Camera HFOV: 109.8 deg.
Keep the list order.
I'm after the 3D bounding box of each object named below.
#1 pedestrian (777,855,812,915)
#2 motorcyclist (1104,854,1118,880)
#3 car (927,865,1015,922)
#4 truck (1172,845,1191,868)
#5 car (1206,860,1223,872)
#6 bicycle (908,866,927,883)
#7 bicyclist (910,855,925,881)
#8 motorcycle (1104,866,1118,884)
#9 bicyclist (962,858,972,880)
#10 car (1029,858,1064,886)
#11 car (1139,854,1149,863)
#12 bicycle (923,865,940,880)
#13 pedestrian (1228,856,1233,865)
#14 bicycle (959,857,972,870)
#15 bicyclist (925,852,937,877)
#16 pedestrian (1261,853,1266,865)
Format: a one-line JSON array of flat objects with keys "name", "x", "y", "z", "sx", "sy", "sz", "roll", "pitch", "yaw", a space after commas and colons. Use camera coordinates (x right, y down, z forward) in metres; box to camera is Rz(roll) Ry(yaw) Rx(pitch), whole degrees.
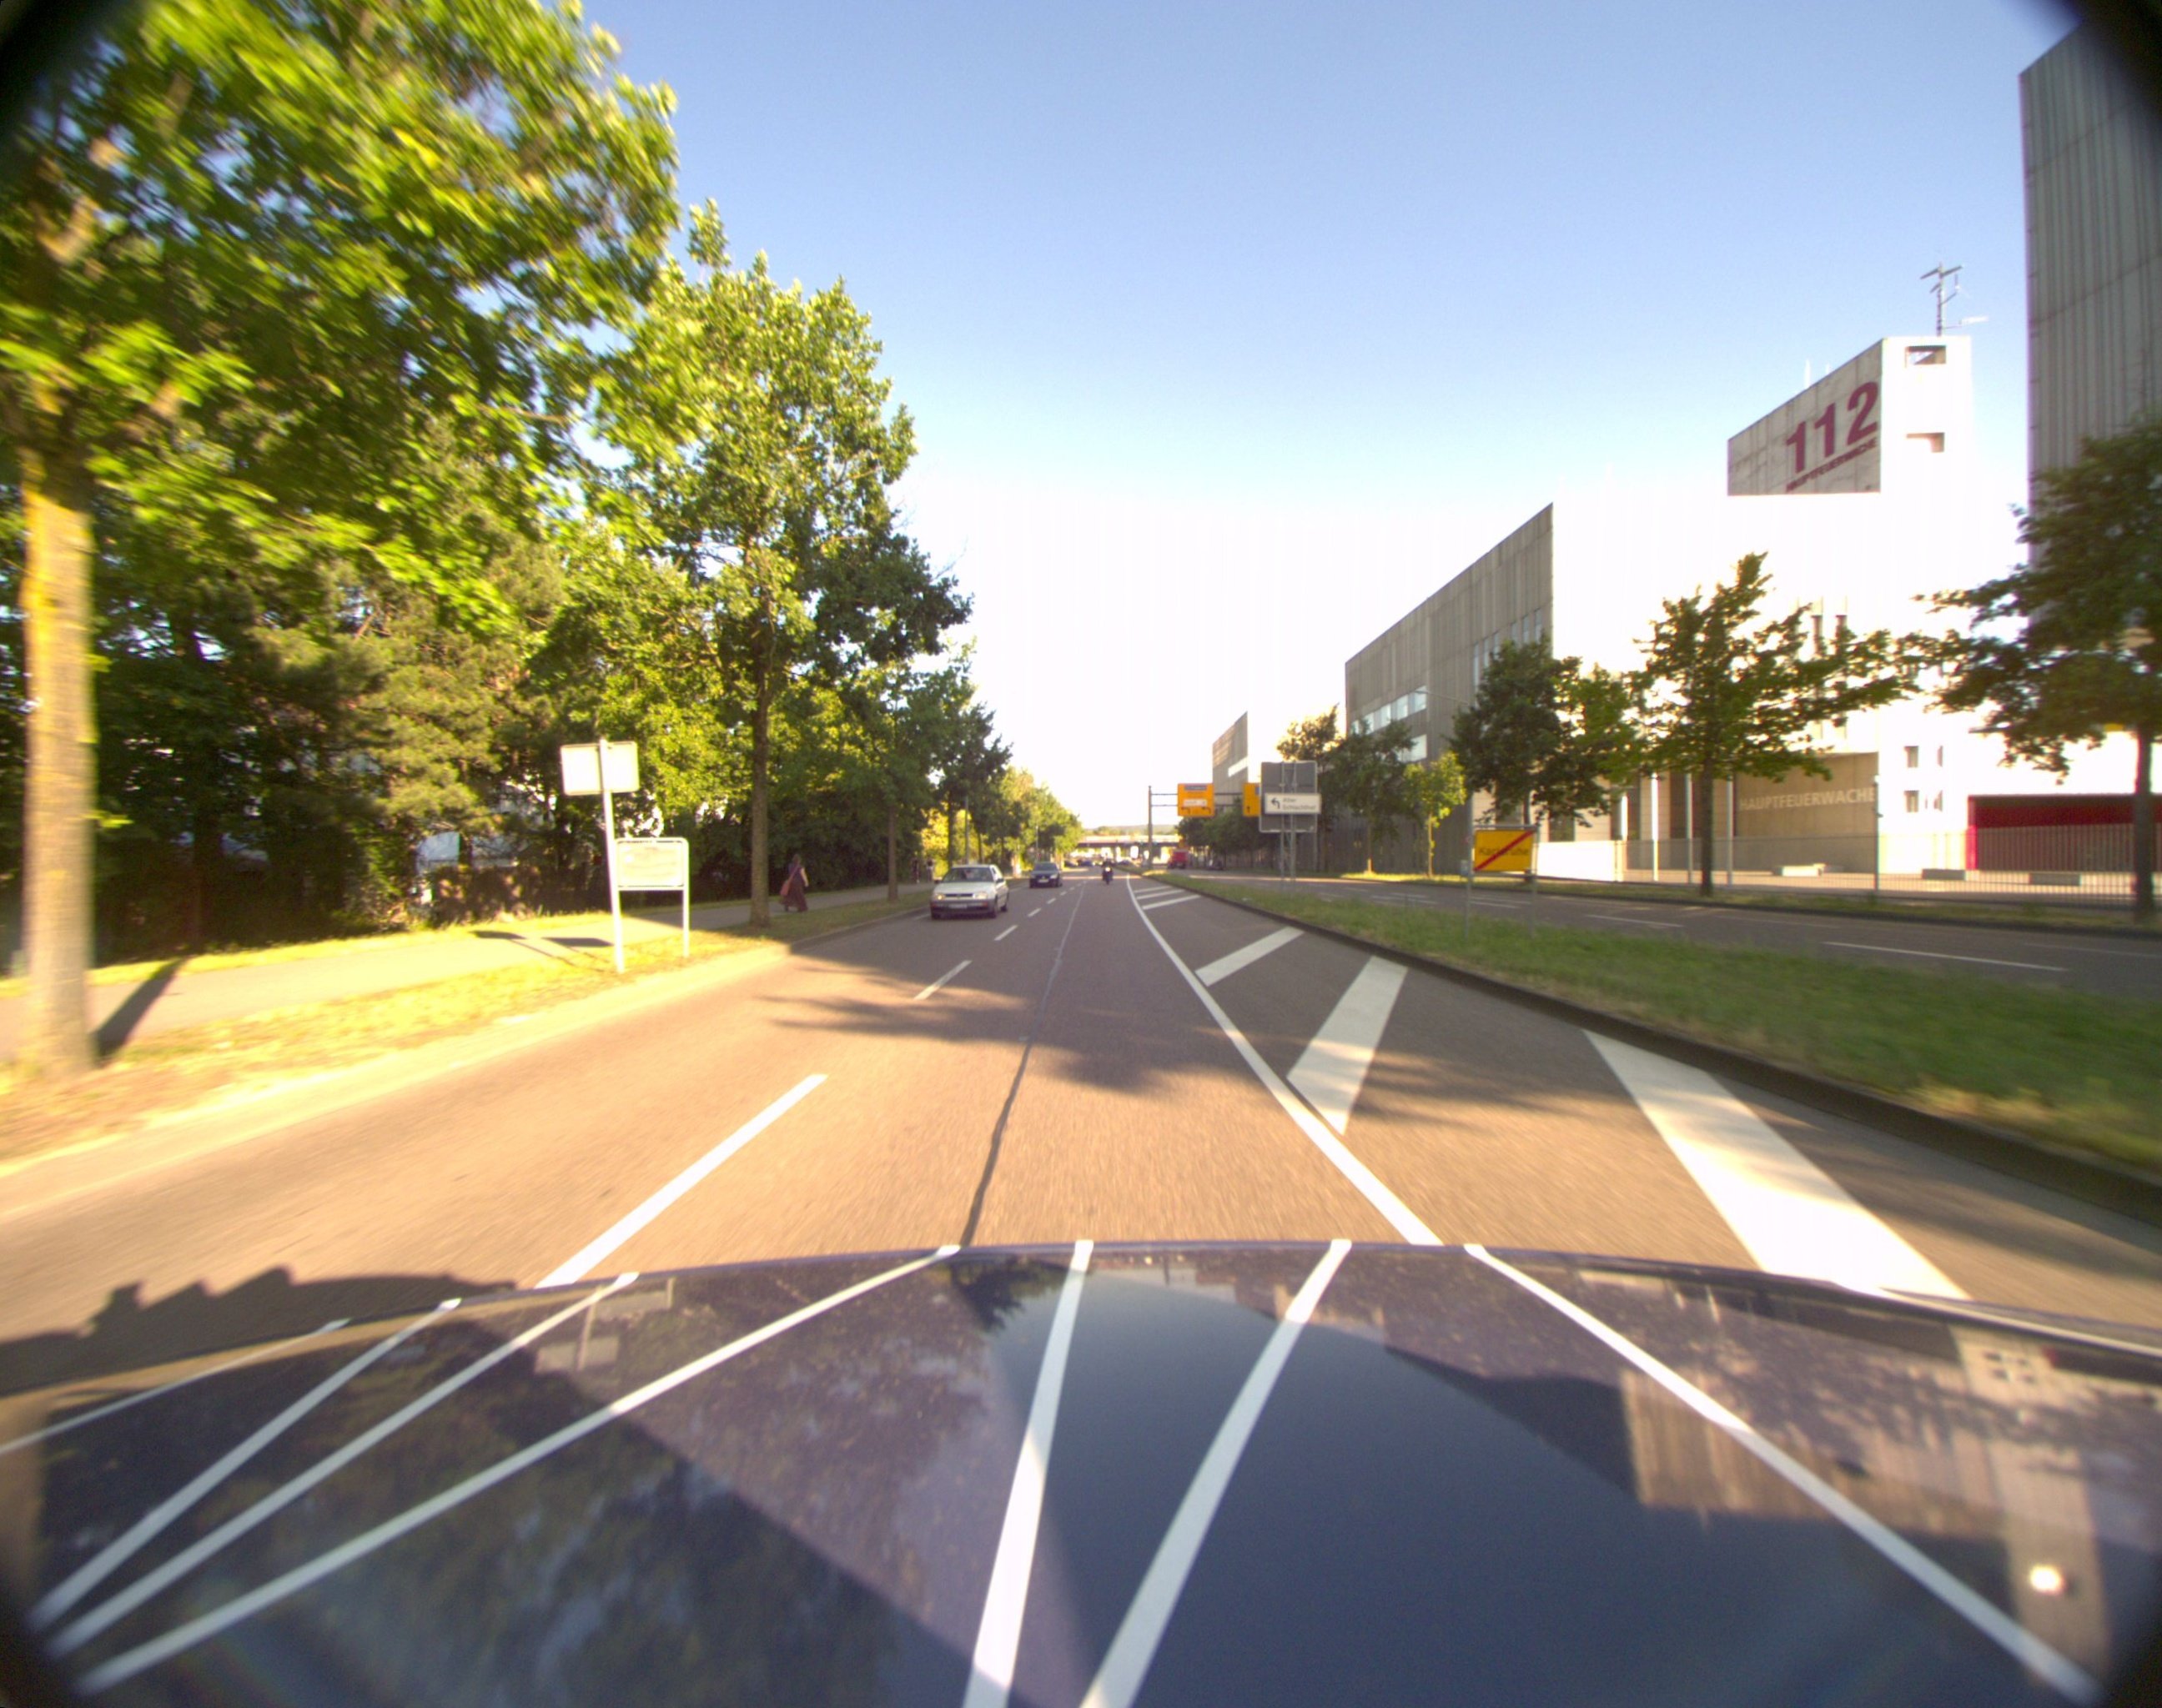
[{"name": "pedestrian", "x": -7.703, "y": 0.818, "z": 20.456, "sx": 0.673, "sy": 1.564, "sz": 0.910, "roll": 1, "pitch": 0, "yaw": -7}, {"name": "motorcyclist", "x": 1.776, "y": 0.759, "z": 45.002, "sx": 0.734, "sy": 1.503, "sz": 0.919, "roll": 0, "pitch": 1, "yaw": 0}, {"name": "car", "x": -2.919, "y": 1.019, "z": 20.974, "sx": 1.614, "sy": 1.390, "sz": 4.040, "roll": -1, "pitch": -1, "yaw": 3}, {"name": "truck", "x": 16.926, "y": 0.406, "z": 127.708, "sx": 3.004, "sy": 3.789, "sz": 10.095, "roll": -1, "pitch": 0, "yaw": 7}, {"name": "car", "x": 18.478, "y": 1.640, "z": 105.189, "sx": 1.600, "sy": 1.504, "sz": 3.866, "roll": -1, "pitch": 0, "yaw": -3}, {"name": "bicycle", "x": -9.580, "y": 1.185, "z": 44.501, "sx": 0.618, "sy": 0.968, "sz": 1.822, "roll": -1, "pitch": 0, "yaw": 3}, {"name": "bicyclist", "x": -9.582, "y": 0.794, "z": 44.520, "sx": 0.614, "sy": 1.493, "sz": 0.848, "roll": -1, "pitch": 0, "yaw": 3}, {"name": "motorcycle", "x": 1.780, "y": 1.226, "z": 45.104, "sx": 0.749, "sy": 0.977, "sz": 2.140, "roll": 0, "pitch": 0, "yaw": 0}, {"name": "bicyclist", "x": -8.992, "y": 1.162, "z": 59.987, "sx": 0.604, "sy": 1.723, "sz": 0.848, "roll": -1, "pitch": 0, "yaw": 3}, {"name": "car", "x": -1.901, "y": 0.998, "z": 43.066, "sx": 1.726, "sy": 1.490, "sz": 4.214, "roll": -2, "pitch": -1, "yaw": 0}, {"name": "car", "x": 13.408, "y": 0.973, "z": 162.392, "sx": 1.998, "sy": 1.805, "sz": 4.402, "roll": 0, "pitch": 0, "yaw": 3}, {"name": "bicycle", "x": -9.696, "y": 1.188, "z": 49.293, "sx": 0.618, "sy": 0.968, "sz": 2.059, "roll": -1, "pitch": 0, "yaw": 3}, {"name": "pedestrian", "x": 25.886, "y": 1.158, "z": 131.739, "sx": 0.698, "sy": 1.619, "sz": 0.725, "roll": -1, "pitch": 0, "yaw": 1}, {"name": "bicycle", "x": -9.028, "y": 0.745, "z": 59.515, "sx": 0.618, "sy": 0.968, "sz": 2.059, "roll": -1, "pitch": 0, "yaw": 3}, {"name": "bicyclist", "x": -9.715, "y": 0.693, "z": 49.223, "sx": 0.604, "sy": 1.569, "sz": 0.848, "roll": -1, "pitch": 0, "yaw": 3}, {"name": "pedestrian", "x": 28.039, "y": 0.739, "z": 116.965, "sx": 0.604, "sy": 1.757, "sz": 0.649, "roll": -1, "pitch": 0, "yaw": 2}]
